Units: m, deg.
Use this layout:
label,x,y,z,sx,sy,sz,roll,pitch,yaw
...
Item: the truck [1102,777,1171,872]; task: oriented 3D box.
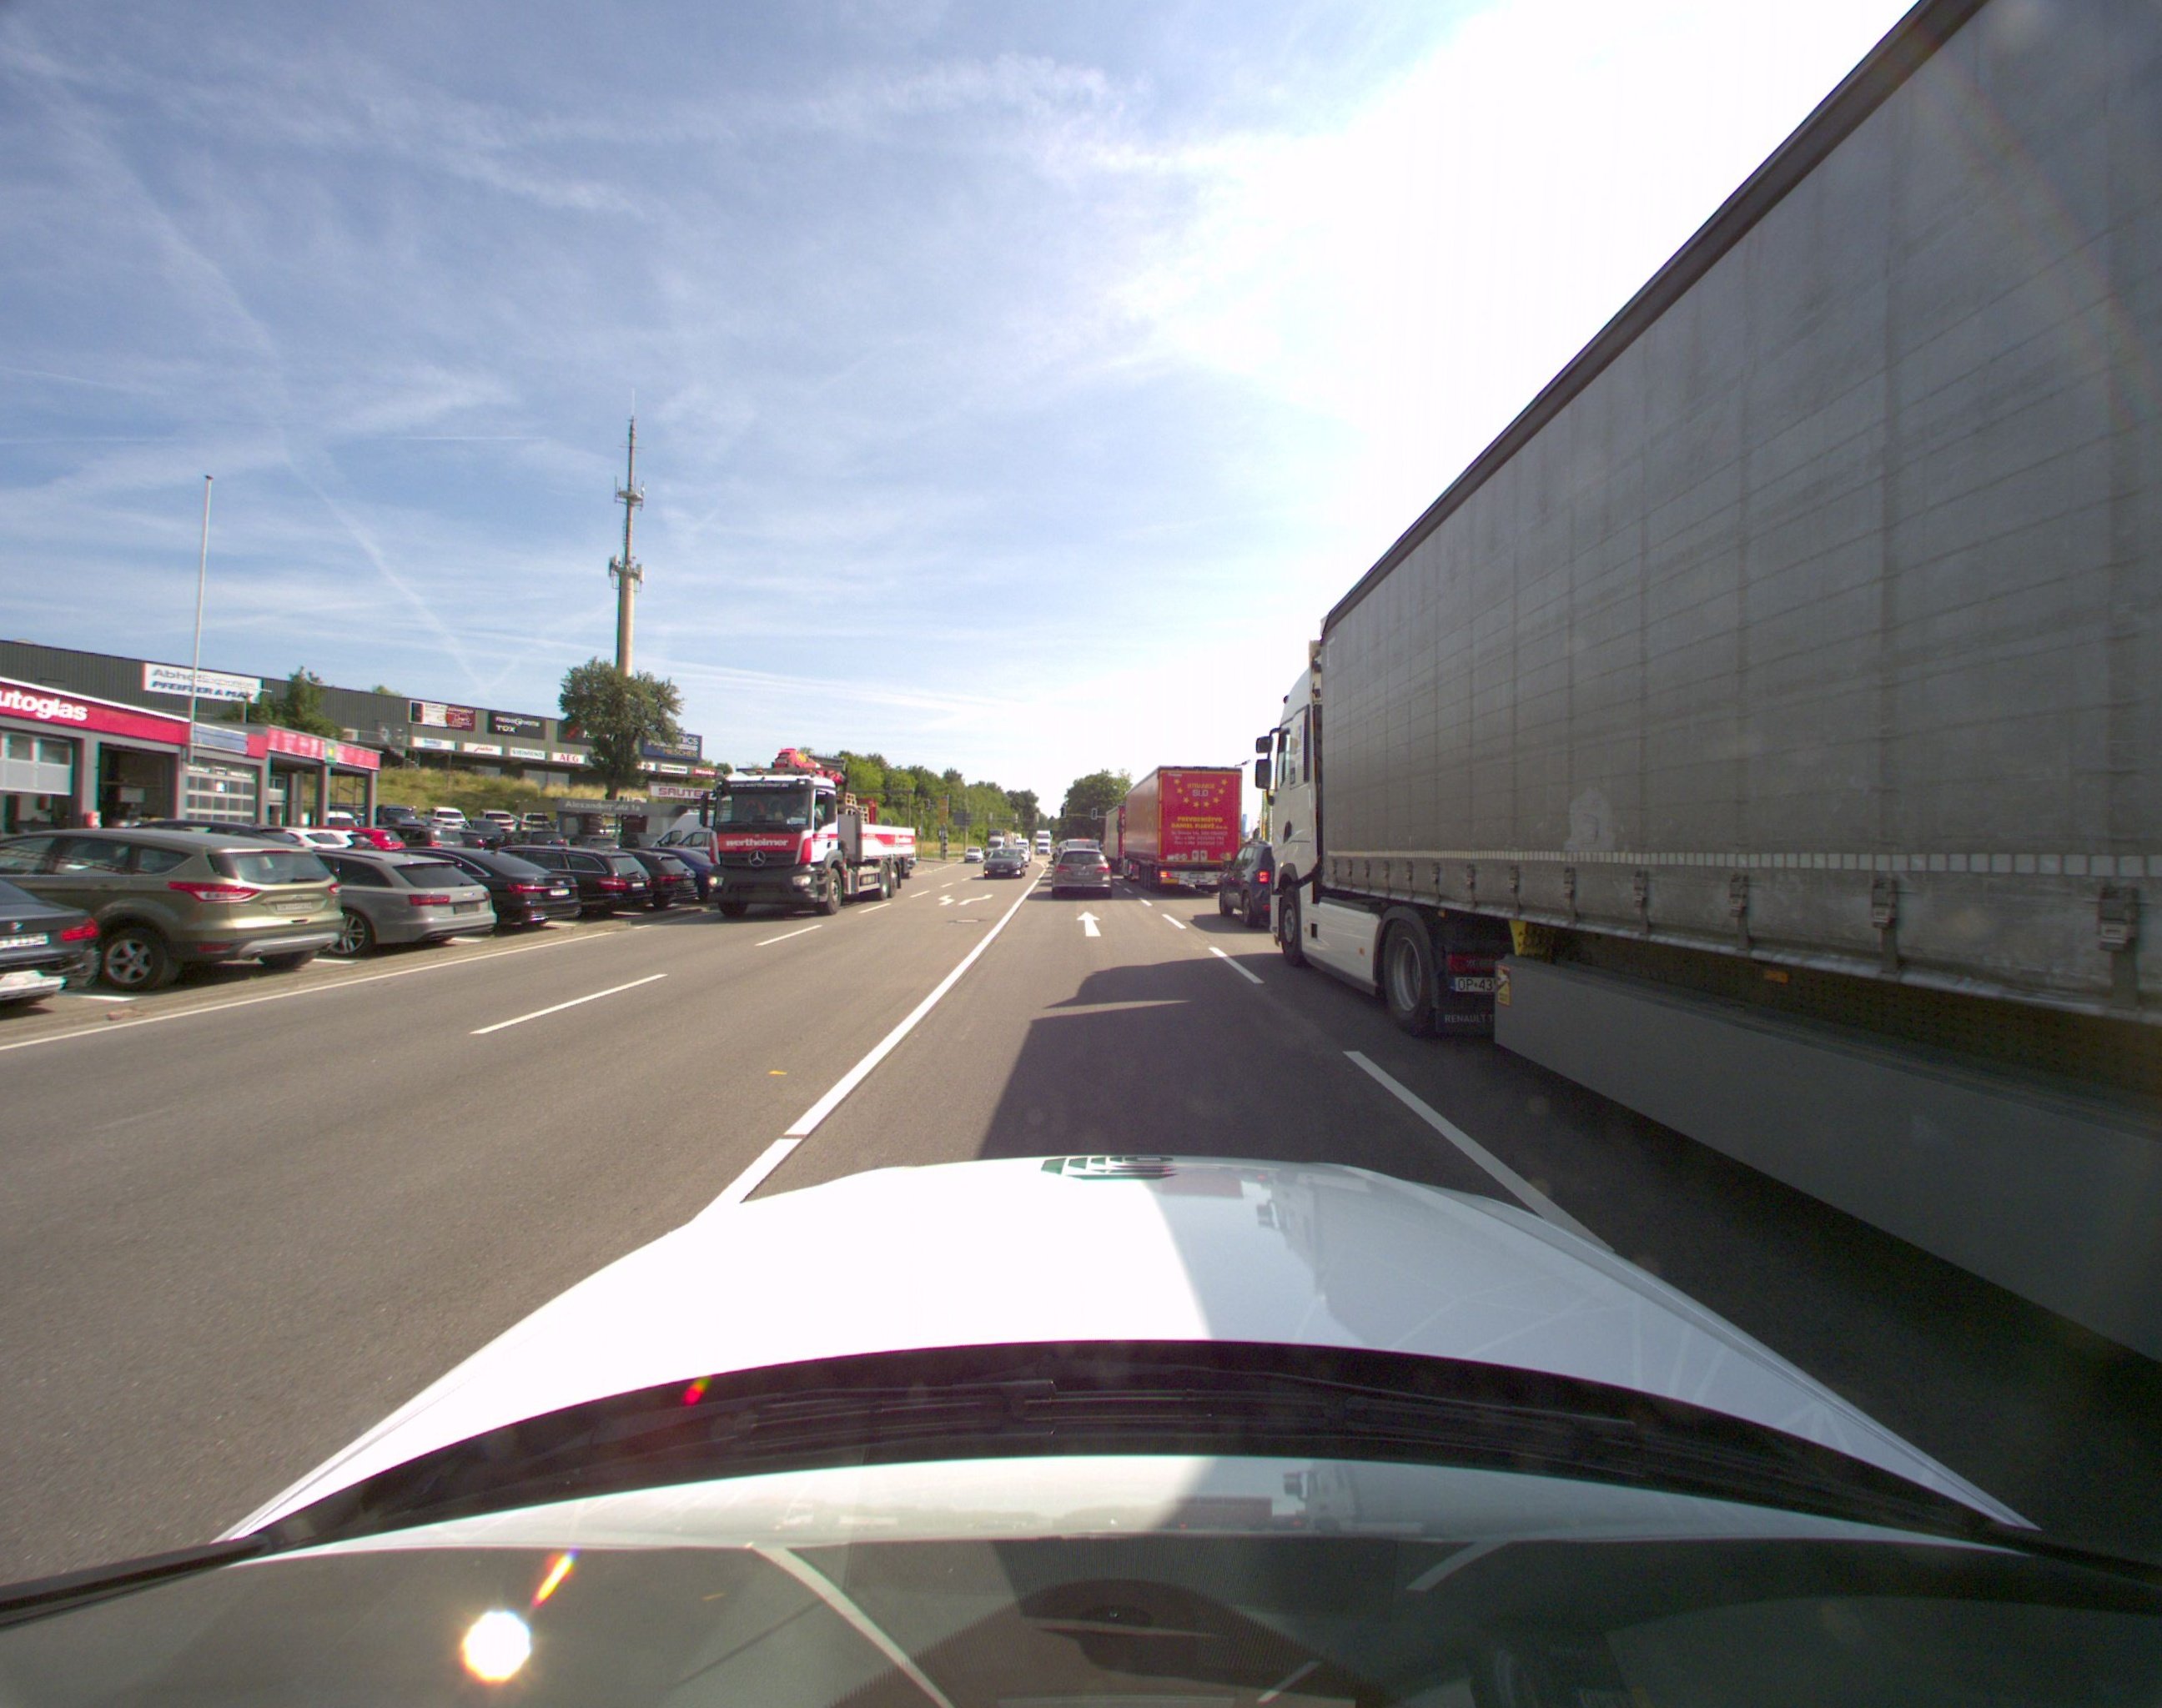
label,x,y,z,sx,sy,sz,roll,pitch,yaw
truck,3.272,-1.701,53.419,3.053,5.220,17.000,1,1,-1

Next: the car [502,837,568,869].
label,x,y,z,sx,sy,sz,roll,pitch,yaw
car,-27.827,-0.061,41.481,3.780,1.588,1.780,0,1,39

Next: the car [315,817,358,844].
label,x,y,z,sx,sy,sz,roll,pitch,yaw
car,-43.004,-1.351,47.068,1.746,1.450,3.704,1,0,-42

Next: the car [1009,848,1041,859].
label,x,y,z,sx,sy,sz,roll,pitch,yaw
car,-7.079,-0.086,102.816,1.695,1.448,4.106,0,1,40

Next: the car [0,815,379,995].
label,x,y,z,sx,sy,sz,roll,pitch,yaw
car,-11.063,0.519,9.559,3.877,1.716,1.805,4,0,-3

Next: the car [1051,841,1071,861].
label,x,y,z,sx,sy,sz,roll,pitch,yaw
car,-1.919,-0.280,79.675,1.720,1.909,3.314,1,0,2

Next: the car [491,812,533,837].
label,x,y,z,sx,sy,sz,roll,pitch,yaw
car,-36.664,-1.865,52.451,1.746,1.450,3.704,1,0,-42

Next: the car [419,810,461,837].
label,x,y,z,sx,sy,sz,roll,pitch,yaw
car,-39.542,-1.854,50.214,1.746,1.537,3.704,1,0,-42

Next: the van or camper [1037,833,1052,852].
label,x,y,z,sx,sy,sz,roll,pitch,yaw
van or camper,-5.884,-1.849,130.797,2.217,2.840,5.708,1,0,-1

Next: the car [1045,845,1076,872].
label,x,y,z,sx,sy,sz,roll,pitch,yaw
car,-1.178,0.261,48.938,1.721,1.519,3.312,1,0,1

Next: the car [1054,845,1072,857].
label,x,y,z,sx,sy,sz,roll,pitch,yaw
car,-2.156,-0.387,97.887,1.658,1.409,3.932,-1,1,6

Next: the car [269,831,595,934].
label,x,y,z,sx,sy,sz,roll,pitch,yaw
car,-11.598,0.479,14.807,4.288,1.484,1.797,4,0,-3

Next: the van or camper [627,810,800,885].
label,x,y,z,sx,sy,sz,roll,pitch,yaw
van or camper,-14.596,-0.269,32.646,5.875,2.873,2.289,0,1,-1

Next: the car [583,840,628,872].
label,x,y,z,sx,sy,sz,roll,pitch,yaw
car,-24.954,0.094,42.688,1.776,1.588,3.789,0,1,-34

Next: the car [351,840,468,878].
label,x,y,z,sx,sy,sz,roll,pitch,yaw
car,-29.385,0.212,35.686,3.796,1.588,1.773,0,0,7

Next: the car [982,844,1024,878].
label,x,y,z,sx,sy,sz,roll,pitch,yaw
car,-3.778,0.285,40.148,1.802,1.559,4.383,-1,1,-2

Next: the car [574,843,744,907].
label,x,y,z,sx,sy,sz,roll,pitch,yaw
car,-11.451,0.537,22.294,3.698,1.555,1.706,2,2,-3

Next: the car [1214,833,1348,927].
label,x,y,z,sx,sy,sz,roll,pitch,yaw
car,3.938,0.447,16.686,1.812,1.685,4.001,-1,1,1

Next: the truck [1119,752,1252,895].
label,x,y,z,sx,sy,sz,roll,pitch,yaw
truck,3.533,-1.007,32.830,2.948,4.269,16.577,1,1,-1

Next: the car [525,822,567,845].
label,x,y,z,sx,sy,sz,roll,pitch,yaw
car,-35.412,-1.336,53.857,1.746,1.450,3.704,1,0,-42

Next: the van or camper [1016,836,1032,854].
label,x,y,z,sx,sy,sz,roll,pitch,yaw
van or camper,-8.435,-1.307,121.141,2.167,2.551,4.168,1,1,-2

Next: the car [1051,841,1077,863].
label,x,y,z,sx,sy,sz,roll,pitch,yaw
car,-1.145,-0.131,57.058,1.721,1.519,3.312,1,0,1

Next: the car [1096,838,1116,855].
label,x,y,z,sx,sy,sz,roll,pitch,yaw
car,2.338,-0.721,77.934,1.722,1.519,3.310,1,0,-1

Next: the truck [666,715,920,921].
label,x,y,z,sx,sy,sz,roll,pitch,yaw
truck,-7.032,-0.810,22.278,2.946,4.208,10.647,-2,1,0

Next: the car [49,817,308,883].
label,x,y,z,sx,sy,sz,roll,pitch,yaw
car,-22.491,-0.125,20.526,3.956,1.532,1.755,0,0,-24

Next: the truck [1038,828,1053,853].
label,x,y,z,sx,sy,sz,roll,pitch,yaw
truck,-6.311,-2.403,145.477,2.545,4.307,7.592,-1,1,-1

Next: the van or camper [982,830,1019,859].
label,x,y,z,sx,sy,sz,roll,pitch,yaw
van or camper,-9.021,-0.971,91.647,2.192,3.056,5.923,2,0,13

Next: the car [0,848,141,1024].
label,x,y,z,sx,sy,sz,roll,pitch,yaw
car,-11.219,0.729,7.142,3.699,1.525,1.790,-1,1,-3

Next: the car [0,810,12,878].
label,x,y,z,sx,sy,sz,roll,pitch,yaw
car,-27.242,-0.222,18.197,1.908,1.672,3.998,0,1,-13

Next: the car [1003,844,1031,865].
label,x,y,z,sx,sy,sz,roll,pitch,yaw
car,-4.834,0.004,62.002,1.905,1.521,4.777,0,1,-3

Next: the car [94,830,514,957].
label,x,y,z,sx,sy,sz,roll,pitch,yaw
car,-11.300,0.544,12.120,4.267,1.484,1.834,4,0,-3

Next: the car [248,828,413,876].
label,x,y,z,sx,sy,sz,roll,pitch,yaw
car,-25.998,-0.082,28.375,3.834,1.588,1.755,0,0,-24

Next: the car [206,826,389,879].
label,x,y,z,sx,sy,sz,roll,pitch,yaw
car,-24.944,-0.066,26.118,3.834,1.588,1.755,0,0,-24

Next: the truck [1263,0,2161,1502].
label,x,y,z,sx,sy,sz,roll,pitch,yaw
truck,3.829,-0.743,3.426,2.879,4.265,16.716,0,0,2

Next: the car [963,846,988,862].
label,x,y,z,sx,sy,sz,roll,pitch,yaw
car,-9.774,-0.027,75.737,1.830,1.448,4.081,0,1,0

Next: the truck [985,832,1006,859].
label,x,y,z,sx,sy,sz,roll,pitch,yaw
truck,-12.732,-1.305,121.706,2.808,3.786,6.978,-1,1,-5

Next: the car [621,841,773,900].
label,x,y,z,sx,sy,sz,roll,pitch,yaw
car,-11.609,0.487,24.803,3.699,1.484,1.706,4,0,-3

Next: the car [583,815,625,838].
label,x,y,z,sx,sy,sz,roll,pitch,yaw
car,-32.652,-1.822,55.703,1.746,1.450,3.704,1,0,-42

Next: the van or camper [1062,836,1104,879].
label,x,y,z,sx,sy,sz,roll,pitch,yaw
van or camper,0.046,0.135,38.901,1.847,1.905,3.782,1,1,-2

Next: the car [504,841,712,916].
label,x,y,z,sx,sy,sz,roll,pitch,yaw
car,-11.288,0.556,19.662,3.835,1.484,1.800,4,0,-3

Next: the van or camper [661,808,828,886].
label,x,y,z,sx,sy,sz,roll,pitch,yaw
van or camper,-12.353,-0.264,30.193,5.228,2.731,2.210,0,0,0

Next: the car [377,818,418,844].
label,x,y,z,sx,sy,sz,roll,pitch,yaw
car,-40.914,-1.322,48.755,1.746,1.450,3.704,1,0,-42

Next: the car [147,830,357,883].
label,x,y,z,sx,sy,sz,roll,pitch,yaw
car,-23.647,0.053,23.431,3.834,1.431,1.755,0,0,-24

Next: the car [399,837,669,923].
label,x,y,z,sx,sy,sz,roll,pitch,yaw
car,-11.619,0.529,17.548,4.448,1.484,1.770,4,0,-3

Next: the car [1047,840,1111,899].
label,x,y,z,sx,sy,sz,roll,pitch,yaw
car,0.006,0.435,24.565,1.783,1.638,3.506,0,0,2
